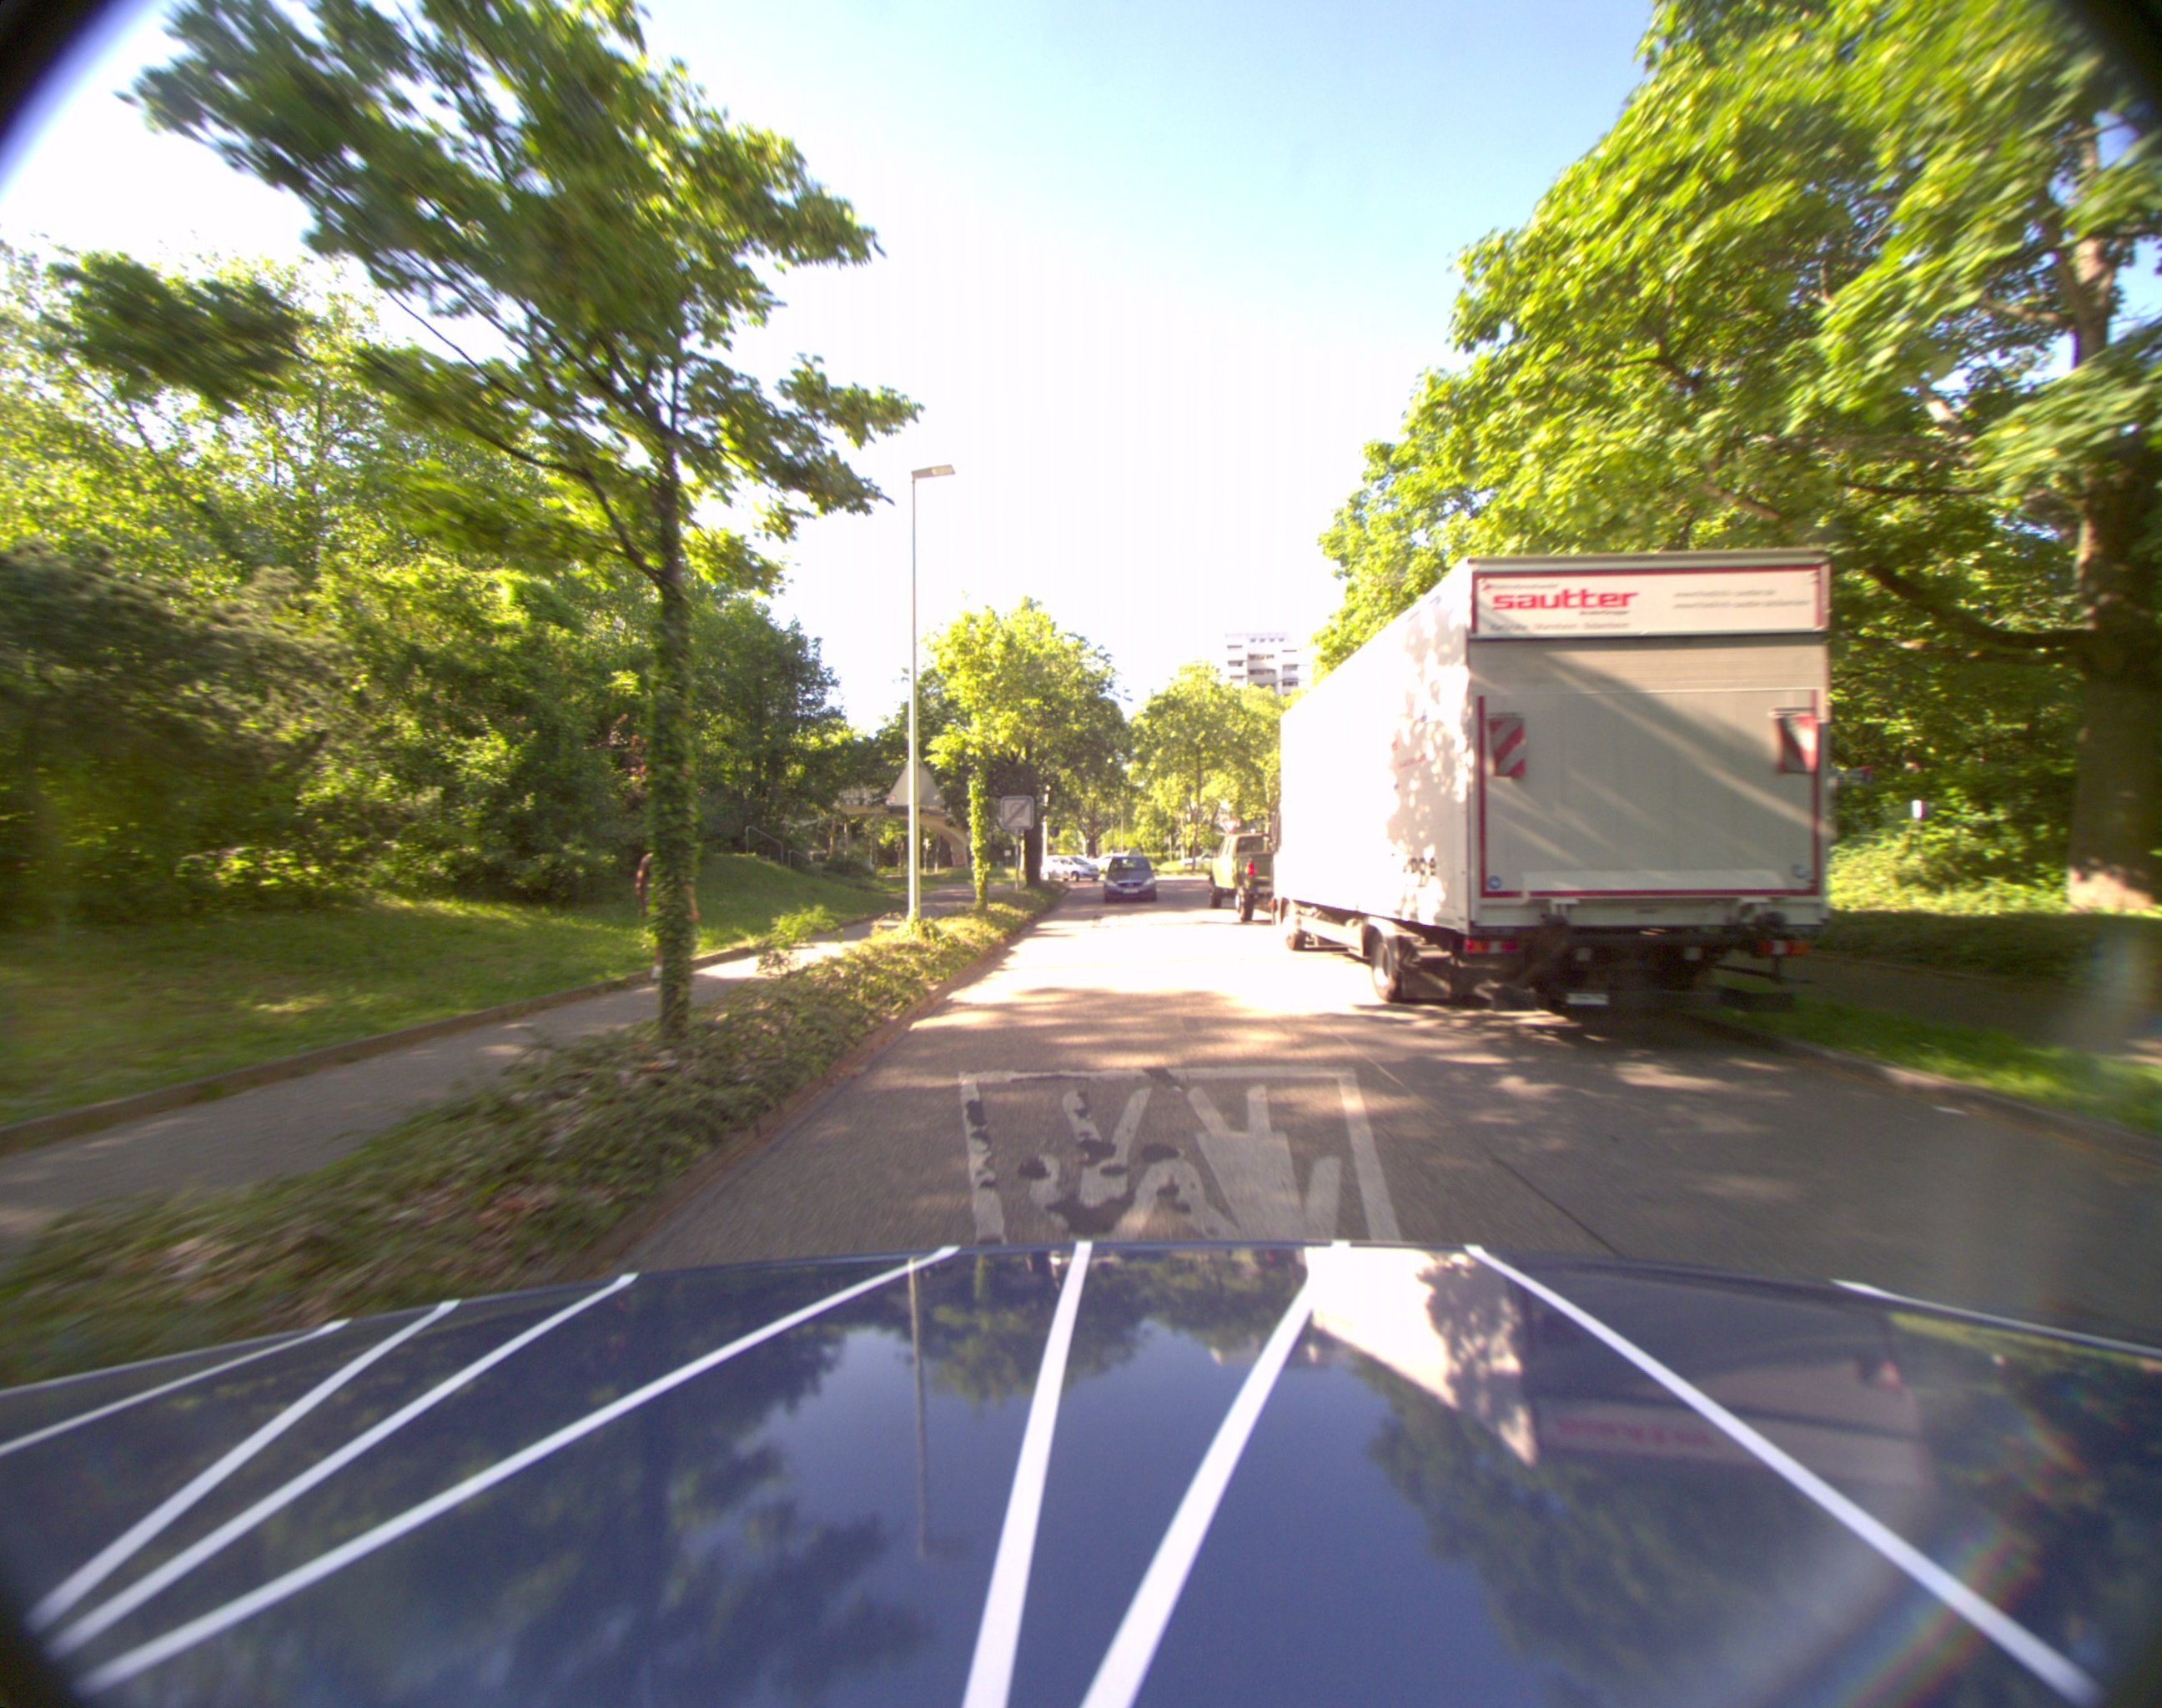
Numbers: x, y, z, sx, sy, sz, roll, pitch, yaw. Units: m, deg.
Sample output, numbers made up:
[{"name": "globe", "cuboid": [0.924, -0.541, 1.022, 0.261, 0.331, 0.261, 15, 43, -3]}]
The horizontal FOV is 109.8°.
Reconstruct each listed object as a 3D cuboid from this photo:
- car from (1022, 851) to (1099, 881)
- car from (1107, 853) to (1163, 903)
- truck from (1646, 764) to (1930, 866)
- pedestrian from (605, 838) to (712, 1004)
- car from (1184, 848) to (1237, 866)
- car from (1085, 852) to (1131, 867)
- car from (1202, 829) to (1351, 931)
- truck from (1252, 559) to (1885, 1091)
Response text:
[{"name": "car", "cuboid": [-1.244, 0.735, 45.859, 4.323, 1.637, 1.723, -2, 1, 30]}, {"name": "car", "cuboid": [1.835, 0.765, 26.712, 1.734, 1.578, 4.000, -1, 0, 1]}, {"name": "truck", "cuboid": [14.900, -0.775, 16.234, 3.997, 2.002, 2.204, 0, 1, 0]}, {"name": "pedestrian", "cuboid": [-4.813, 0.740, 8.703, 0.793, 1.821, 0.671, -1, 1, 2]}, {"name": "car", "cuboid": [11.402, 0.230, 67.247, 4.481, 1.384, 1.620, -3, 1, 5]}, {"name": "car", "cuboid": [2.557, 0.488, 70.317, 4.061, 1.213, 1.620, -3, 1, 8]}, {"name": "car", "cuboid": [4.607, 0.520, 19.119, 2.124, 2.083, 6.584, -1, 0, 1]}, {"name": "truck", "cuboid": [4.274, -0.197, 9.302, 2.741, 3.620, 8.101, -1, 0, 2]}]
